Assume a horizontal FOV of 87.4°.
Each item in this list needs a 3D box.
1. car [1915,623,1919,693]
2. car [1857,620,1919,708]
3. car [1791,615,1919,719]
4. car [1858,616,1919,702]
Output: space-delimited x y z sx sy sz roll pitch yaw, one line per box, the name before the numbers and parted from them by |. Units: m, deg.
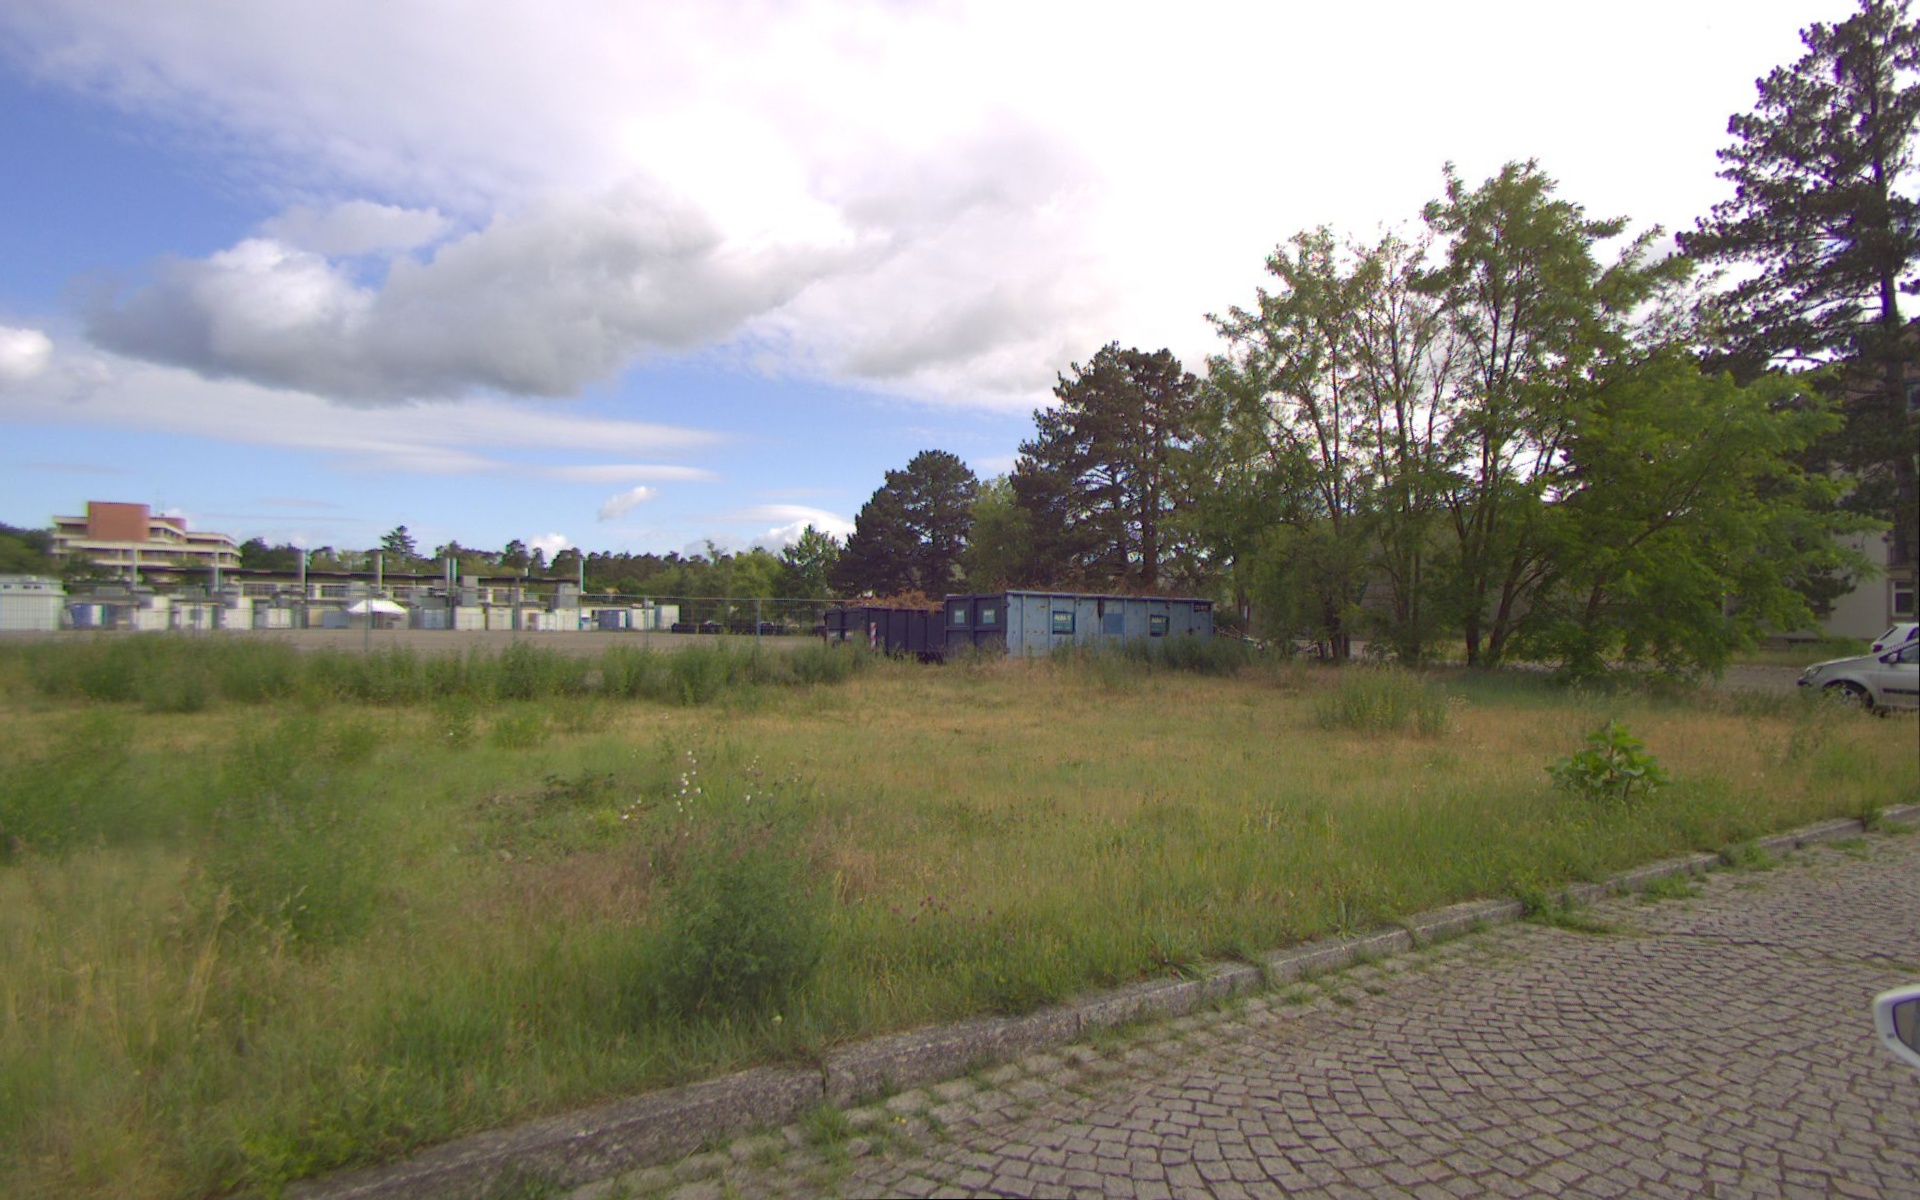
car | 21.673 1.294 19.713 1.632 1.440 3.926 1 1 -31
car | 17.447 1.160 16.524 1.566 1.448 3.722 1 1 -34
car | 15.219 1.069 15.250 1.566 1.499 3.680 1 1 -34
car | 19.441 1.201 18.555 1.633 1.584 3.923 1 1 -34
